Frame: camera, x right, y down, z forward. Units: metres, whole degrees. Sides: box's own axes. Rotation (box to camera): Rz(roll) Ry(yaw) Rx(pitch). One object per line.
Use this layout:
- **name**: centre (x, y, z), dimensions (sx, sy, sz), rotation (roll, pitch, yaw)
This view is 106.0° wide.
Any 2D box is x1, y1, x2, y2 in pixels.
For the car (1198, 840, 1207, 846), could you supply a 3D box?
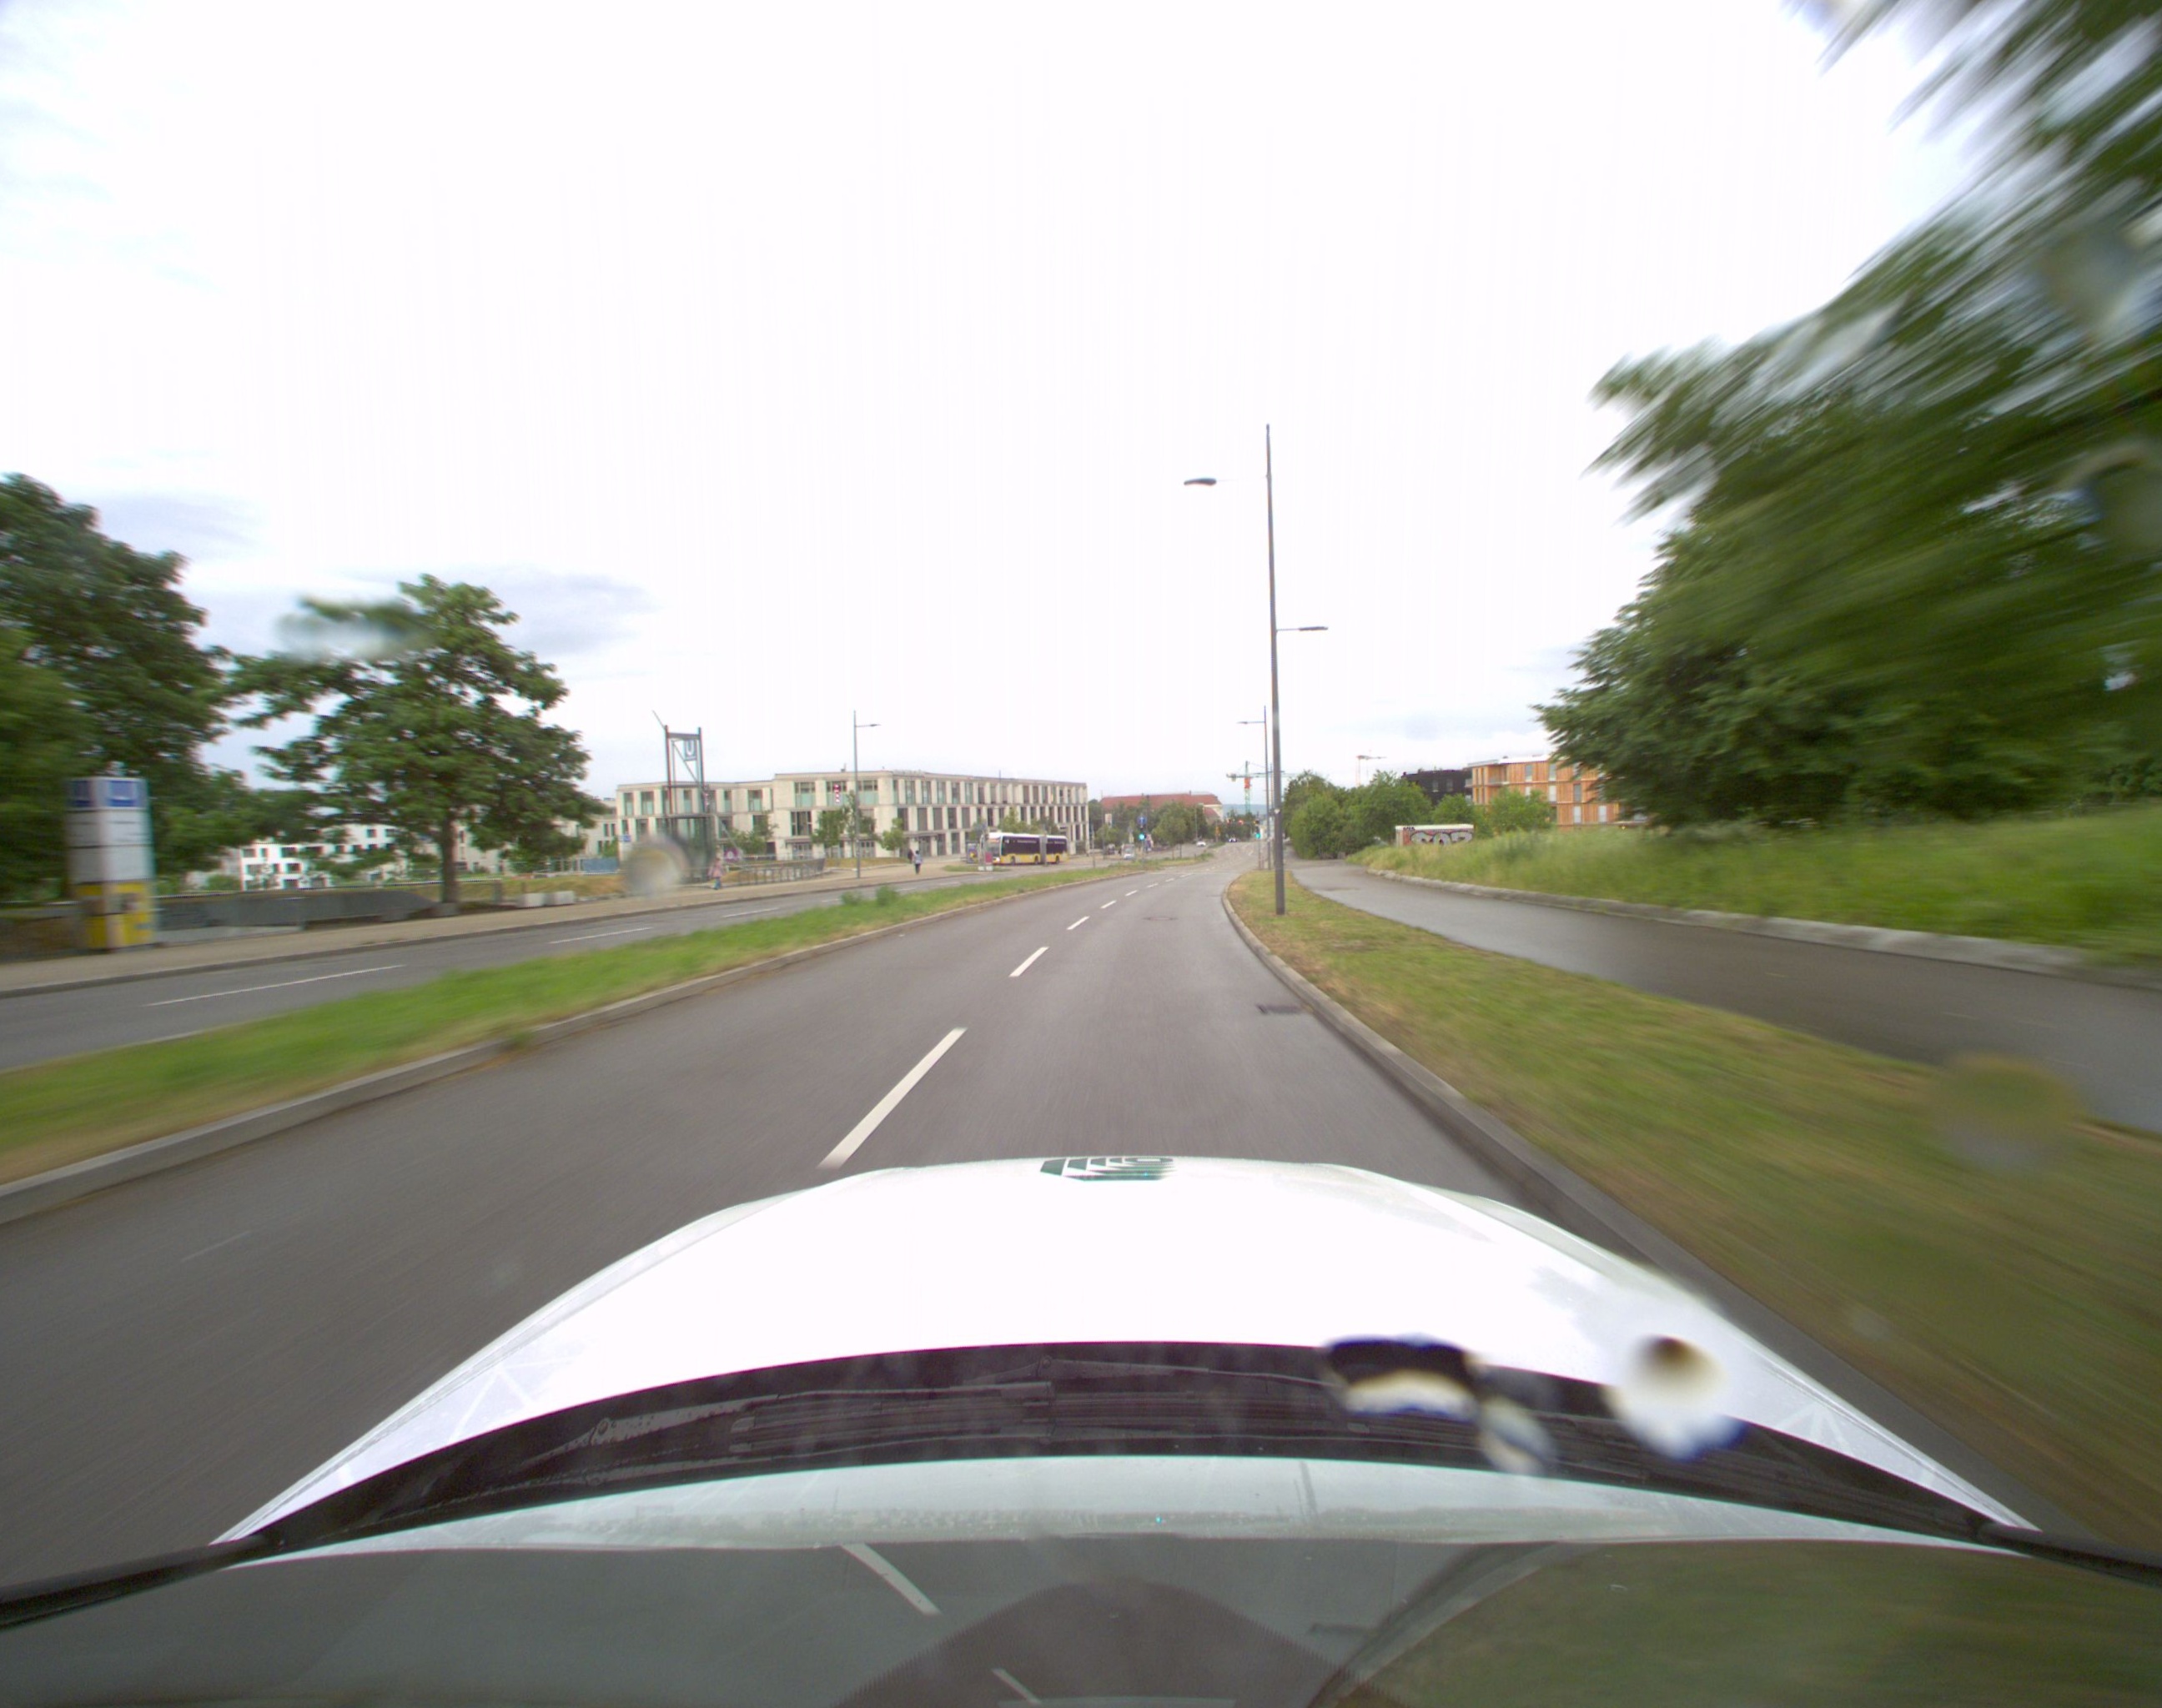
- **car**: centre (31.952, -2.791, 213.997), dimensions (1.755, 1.494, 4.086), rotation (-2, -1, 18)

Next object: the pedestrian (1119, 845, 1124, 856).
- **pedestrian**: centre (7.264, -0.598, 147.675), dimensions (0.747, 1.947, 0.837), rotation (-1, -1, -4)

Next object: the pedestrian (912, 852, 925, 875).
- **pedestrian**: centre (-11.340, 0.653, 56.796), dimensions (0.834, 1.573, 0.716), rotation (-1, -1, -11)

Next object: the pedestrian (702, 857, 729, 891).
- **pedestrian**: centre (-17.574, 0.954, 39.201), dimensions (0.809, 1.621, 0.937), rotation (-2, -1, 6)

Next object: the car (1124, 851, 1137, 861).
- **car**: centre (7.965, 0.307, 130.866), dimensions (1.466, 1.494, 2.542), rotation (-2, -1, 19)

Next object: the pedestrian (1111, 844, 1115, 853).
- **pedestrian**: centre (6.223, -1.066, 157.523), dimensions (0.747, 1.853, 0.837), rotation (-1, -1, -4)

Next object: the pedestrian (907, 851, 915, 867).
- **pedestrian**: centre (-16.839, 0.470, 80.585), dimensions (0.681, 1.524, 0.718), rotation (-1, -1, -5)

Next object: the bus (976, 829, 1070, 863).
- **bus**: centre (-5.990, -0.715, 90.509), dimensions (2.761, 3.357, 18.320), rotation (-2, -1, 21)
